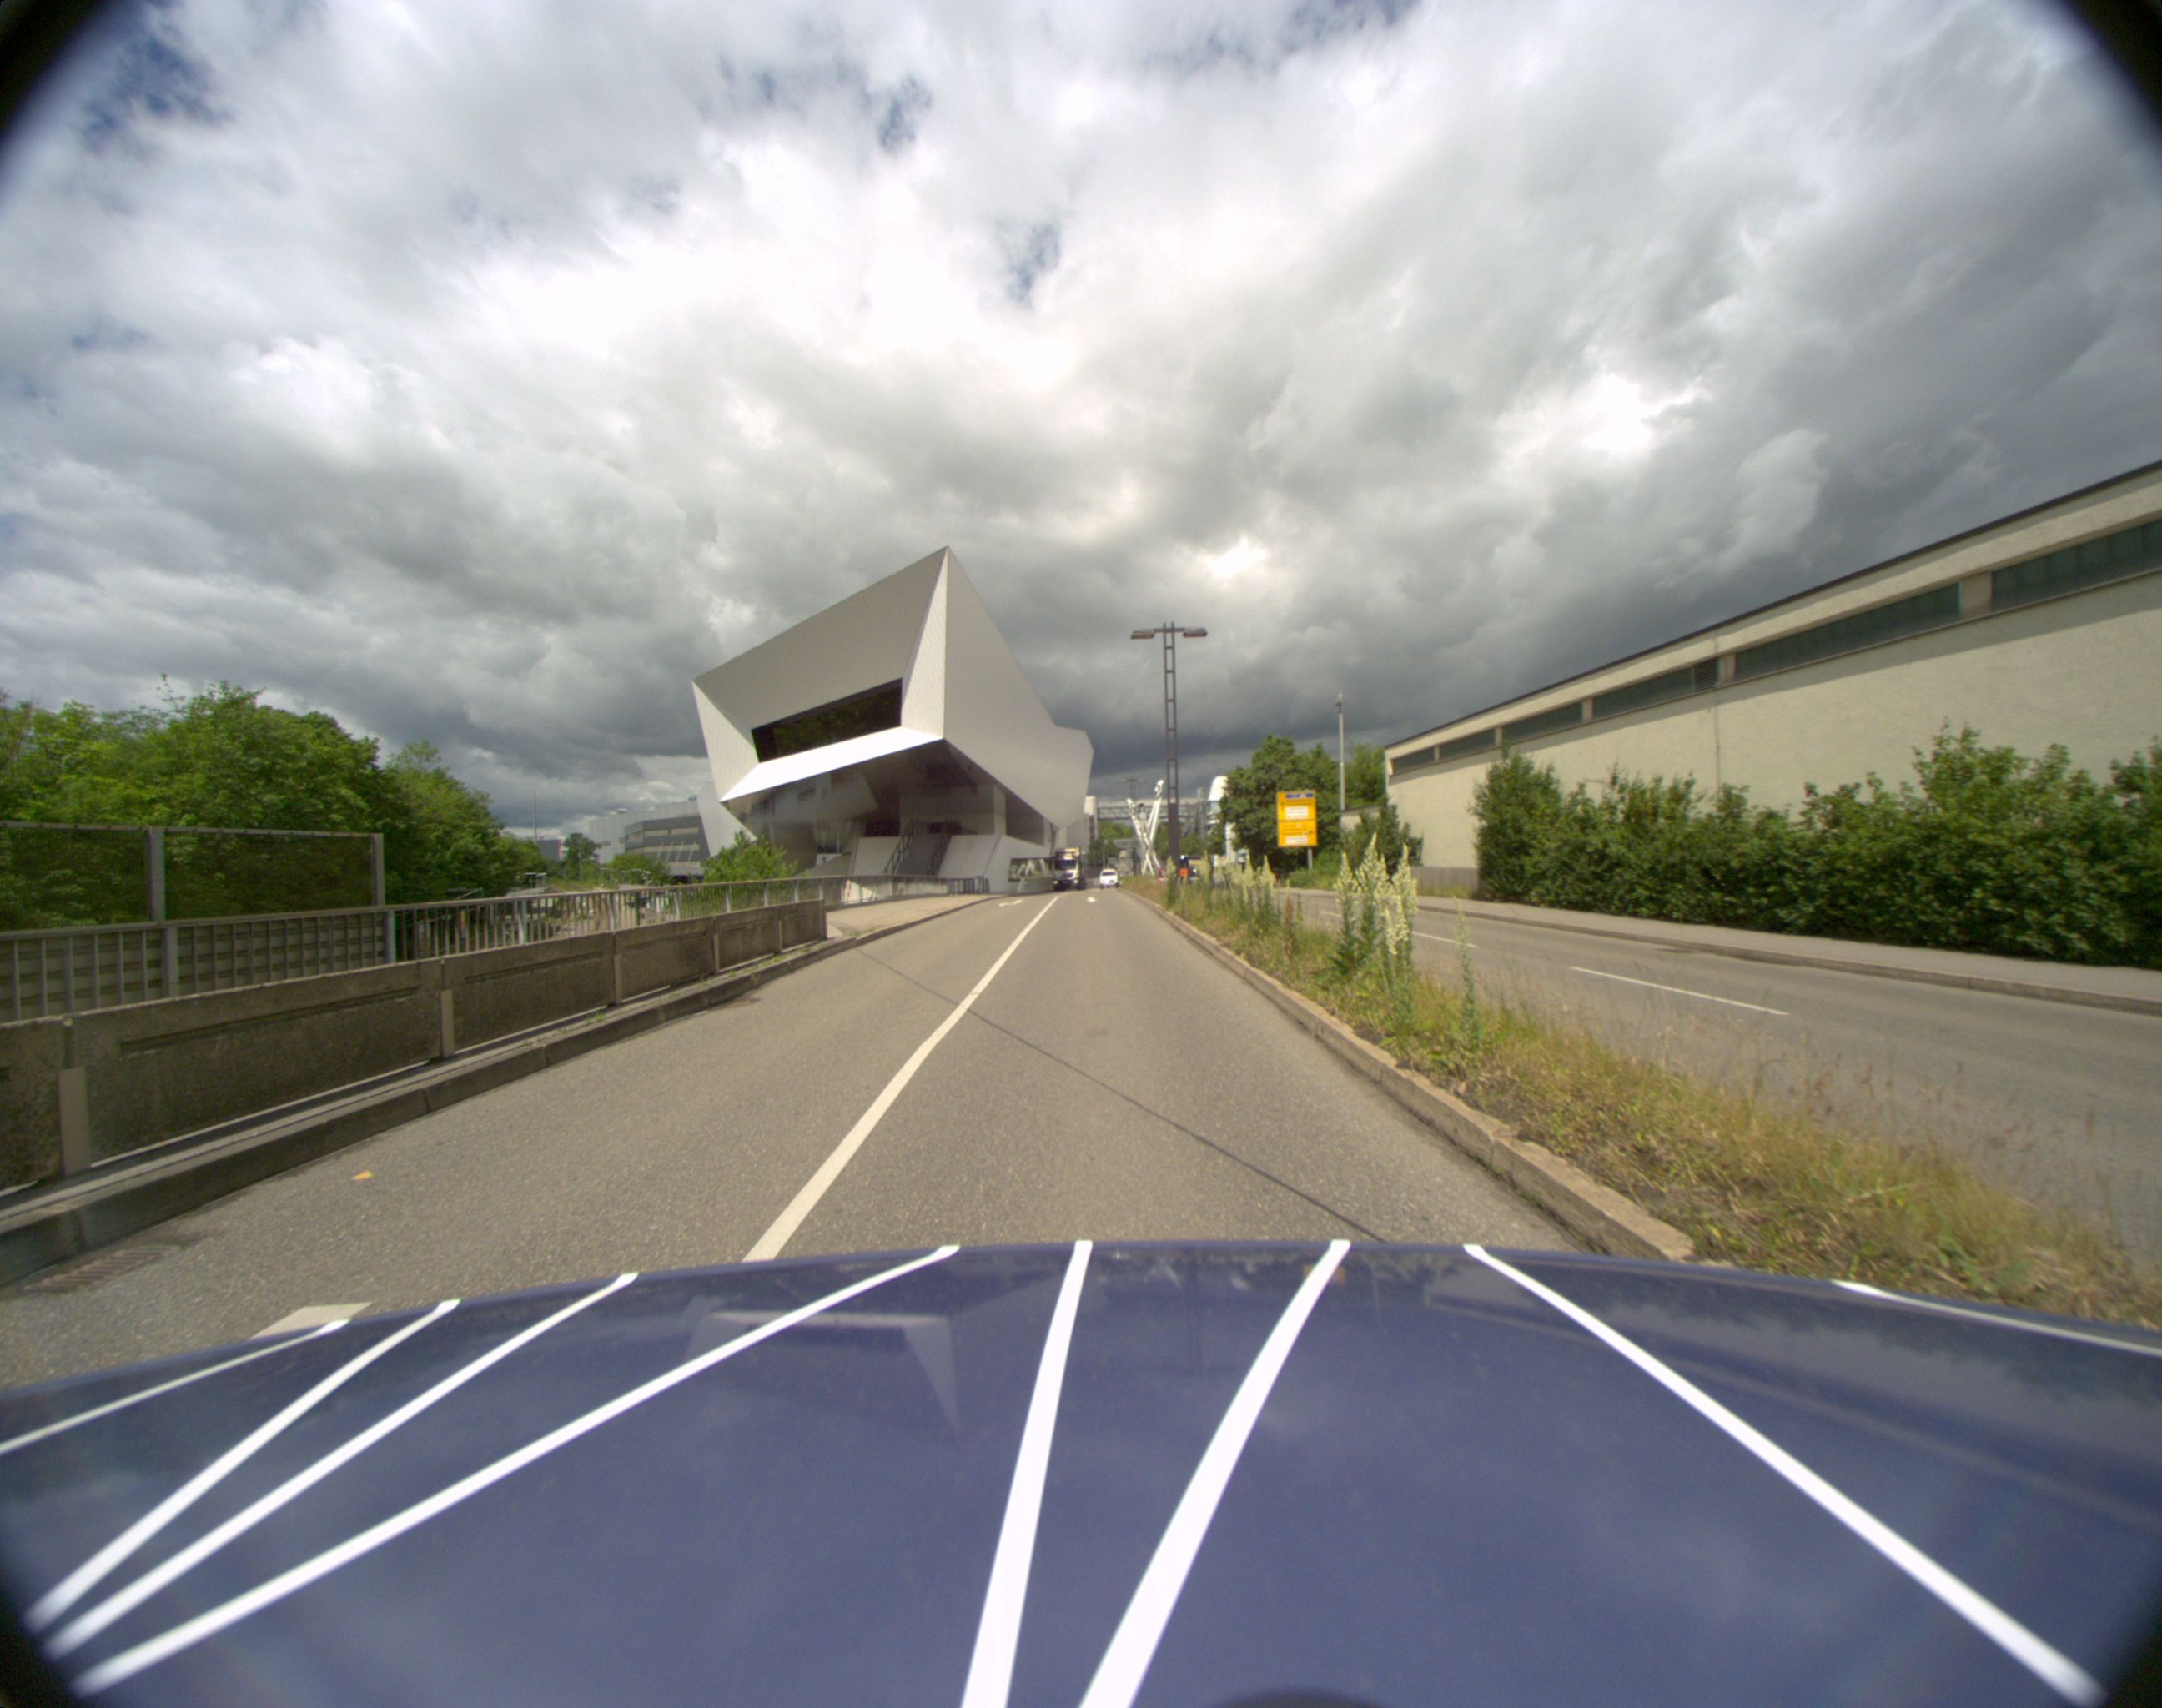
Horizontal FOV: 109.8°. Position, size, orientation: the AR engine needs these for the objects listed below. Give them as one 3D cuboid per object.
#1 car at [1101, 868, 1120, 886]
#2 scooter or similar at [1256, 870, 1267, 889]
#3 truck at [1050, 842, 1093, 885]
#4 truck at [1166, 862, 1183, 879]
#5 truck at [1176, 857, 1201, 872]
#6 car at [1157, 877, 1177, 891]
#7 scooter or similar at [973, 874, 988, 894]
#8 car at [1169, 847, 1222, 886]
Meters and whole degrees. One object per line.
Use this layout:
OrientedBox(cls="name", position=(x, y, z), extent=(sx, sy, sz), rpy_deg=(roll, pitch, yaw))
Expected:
OrientedBox(cls="car", position=(3.156, 2.472, 81.313), extent=(1.986, 1.702, 4.762), rpy_deg=(-2, 0, 2))
OrientedBox(cls="scooter or similar", position=(12.863, 1.816, 54.316), extent=(0.492, 1.296, 1.644), rpy_deg=(-3, -2, 6))
OrientedBox(cls="truck", position=(-0.746, 0.987, 71.254), extent=(2.842, 3.667, 10.760), rpy_deg=(-2, -2, 5))
OrientedBox(cls="truck", position=(18.455, 3.351, 149.670), extent=(2.861, 2.839, 9.389), rpy_deg=(-2, -4, 9))
OrientedBox(cls="truck", position=(30.255, 2.973, 214.614), extent=(2.364, 3.545, 8.975), rpy_deg=(-2, -3, -24))
OrientedBox(cls="car", position=(10.147, 3.528, 90.143), extent=(1.882, 1.617, 4.445), rpy_deg=(0, -2, 1))
OrientedBox(cls="scooter or similar", position=(-6.356, 1.880, 48.118), extent=(0.655, 1.206, 1.858), rpy_deg=(-1, -1, 1))
OrientedBox(cls="car", position=(5.829, 0.647, 39.355), extent=(1.998, 1.877, 4.869), rpy_deg=(-1, -1, 0))
